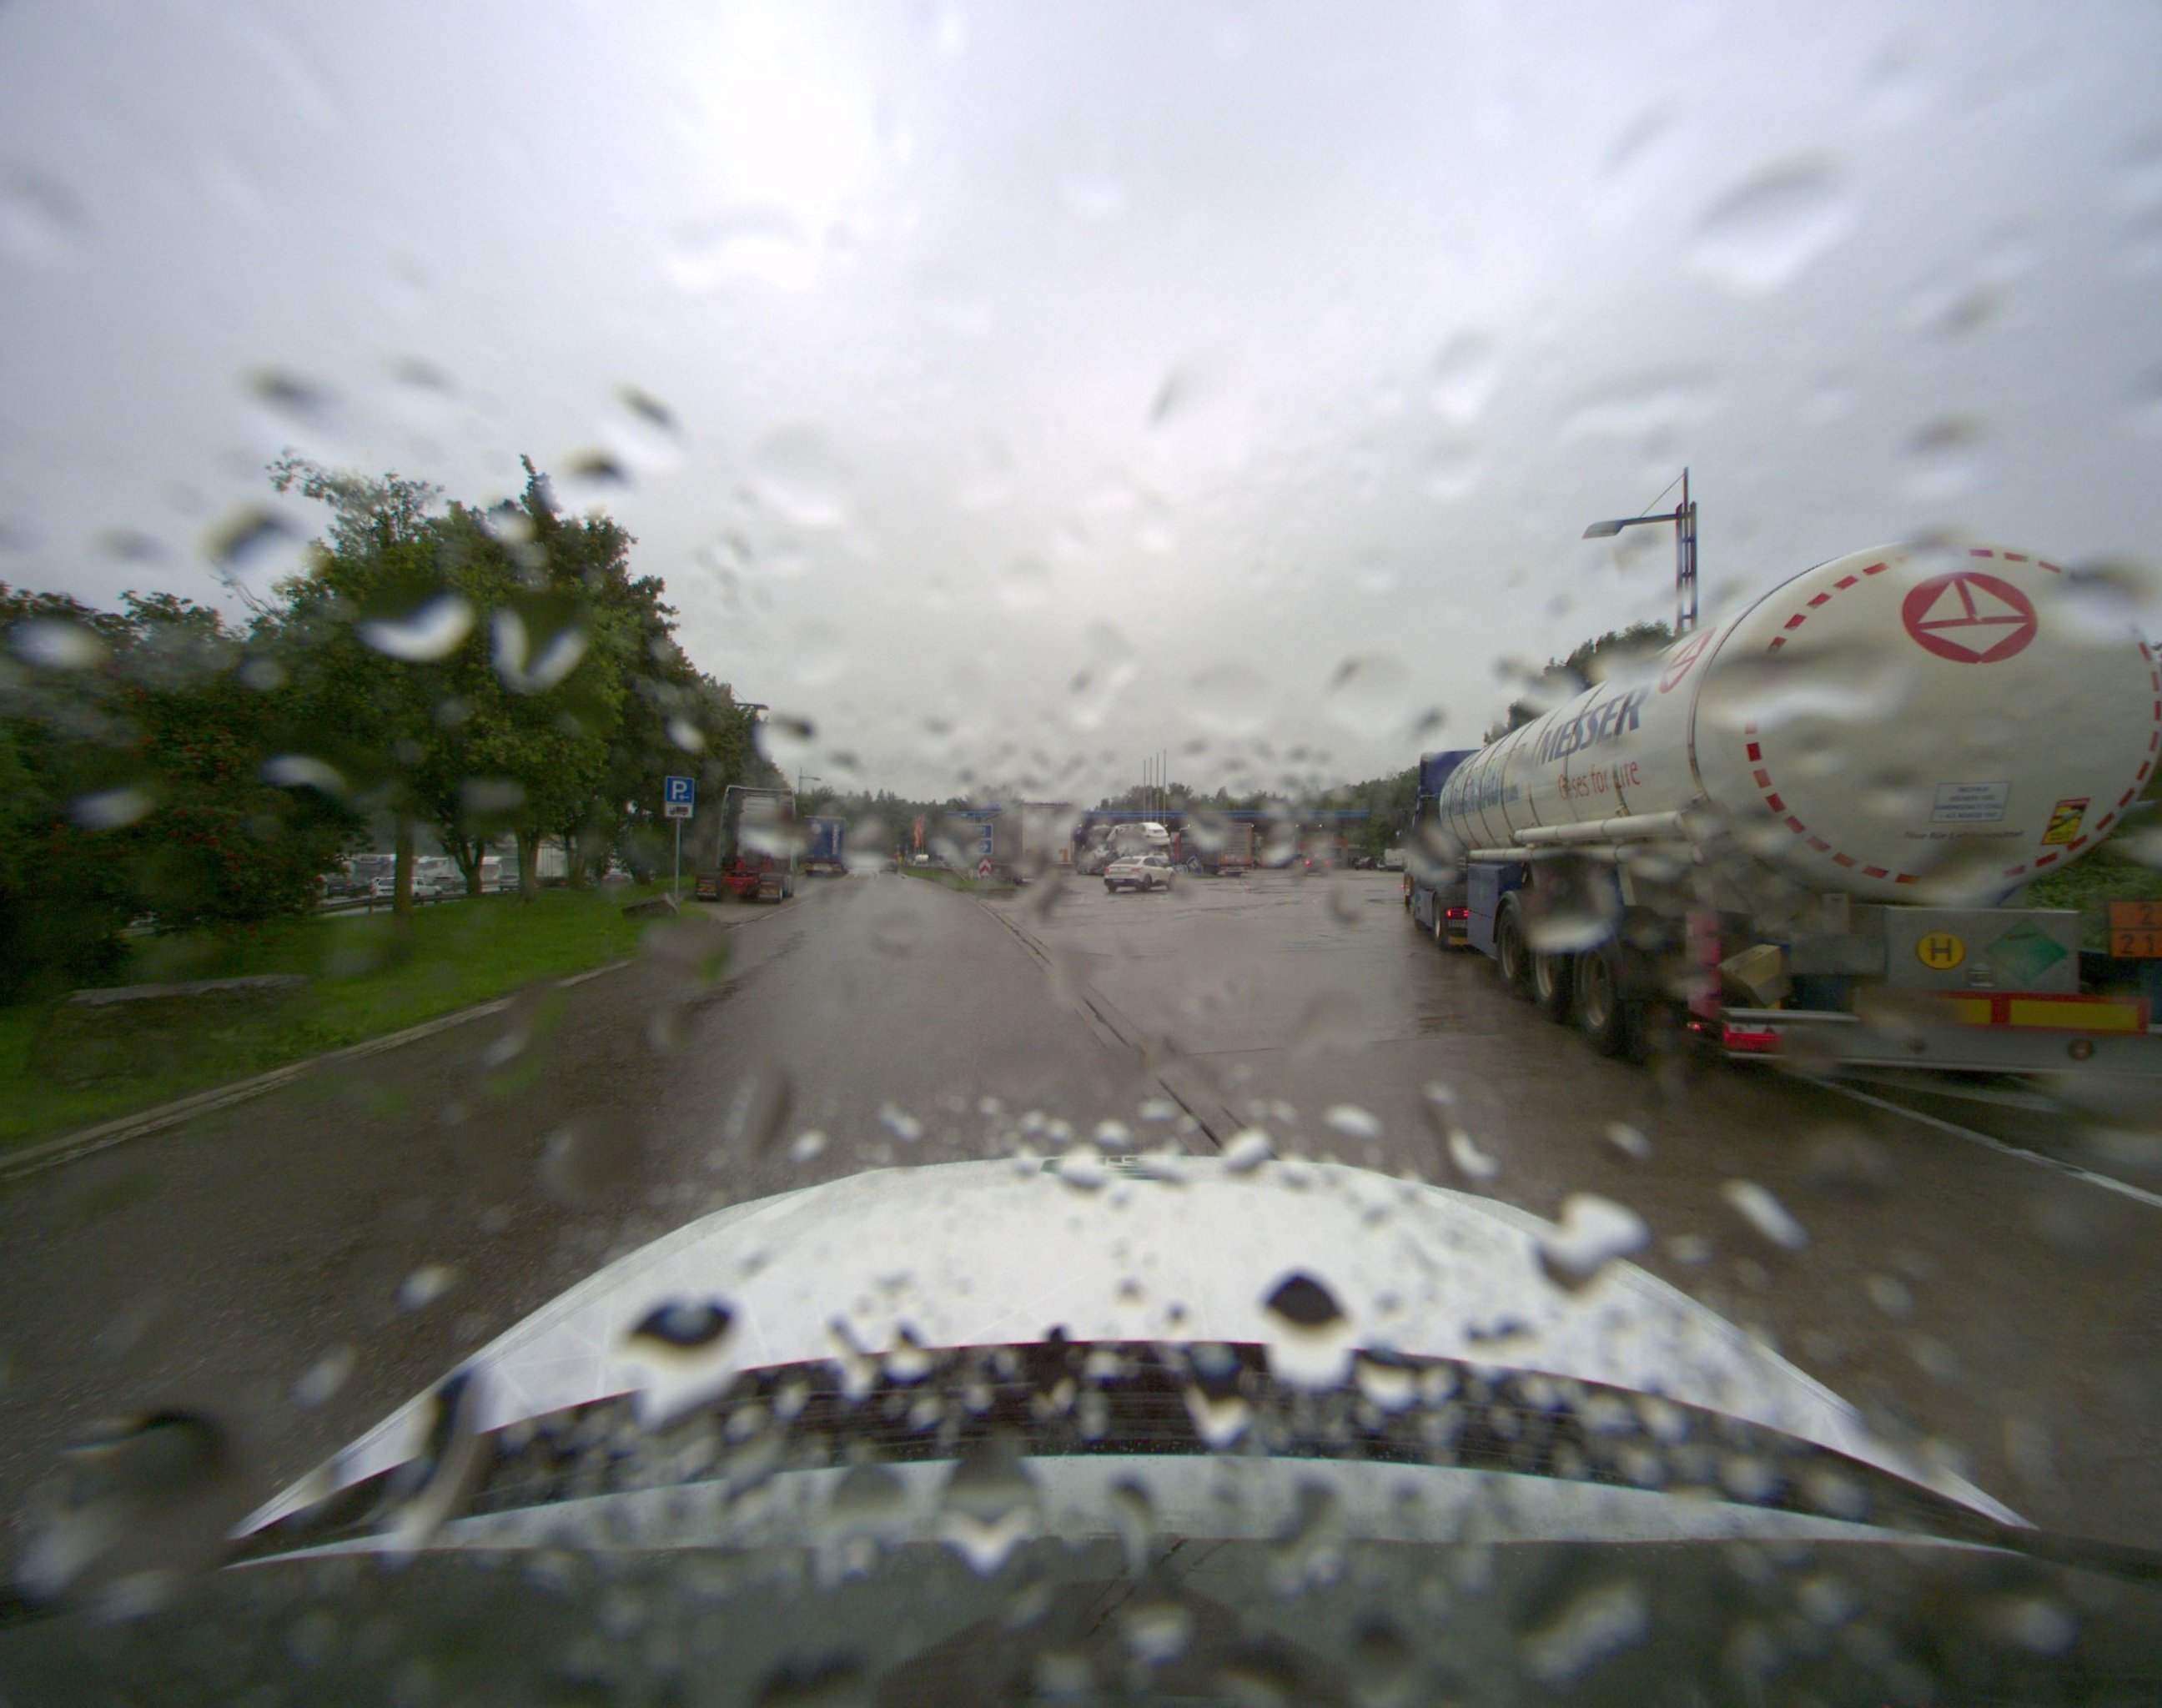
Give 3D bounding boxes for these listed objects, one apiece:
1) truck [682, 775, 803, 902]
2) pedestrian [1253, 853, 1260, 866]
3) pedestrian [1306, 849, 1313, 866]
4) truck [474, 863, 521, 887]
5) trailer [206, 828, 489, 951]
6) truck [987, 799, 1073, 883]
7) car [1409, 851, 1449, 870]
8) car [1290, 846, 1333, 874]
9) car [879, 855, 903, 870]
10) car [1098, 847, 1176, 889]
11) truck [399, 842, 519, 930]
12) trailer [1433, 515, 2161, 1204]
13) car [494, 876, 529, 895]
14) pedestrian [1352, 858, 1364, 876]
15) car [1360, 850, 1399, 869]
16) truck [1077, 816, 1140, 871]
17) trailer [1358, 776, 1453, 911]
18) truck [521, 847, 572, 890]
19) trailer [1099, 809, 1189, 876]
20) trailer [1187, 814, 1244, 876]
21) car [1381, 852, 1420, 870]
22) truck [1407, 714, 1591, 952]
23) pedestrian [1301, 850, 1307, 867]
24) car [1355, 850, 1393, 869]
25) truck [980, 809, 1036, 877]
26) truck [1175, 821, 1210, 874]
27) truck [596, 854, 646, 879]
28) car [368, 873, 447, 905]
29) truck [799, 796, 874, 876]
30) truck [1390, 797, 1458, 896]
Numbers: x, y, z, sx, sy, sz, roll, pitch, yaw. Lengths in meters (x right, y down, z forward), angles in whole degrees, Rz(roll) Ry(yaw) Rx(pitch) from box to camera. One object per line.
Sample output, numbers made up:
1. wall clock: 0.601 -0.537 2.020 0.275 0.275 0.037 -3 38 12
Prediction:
1. truck: -11.594 -0.463 28.487 2.919 3.904 6.286 0 0 -14
2. pedestrian: 22.310 0.691 103.609 0.712 1.521 0.746 2 -3 19
3. pedestrian: 27.352 0.421 97.584 0.664 2.014 0.746 2 -3 19
4. truck: -92.563 3.259 129.334 2.775 3.505 8.648 0 0 -13
5. trailer: -29.093 1.369 33.675 2.902 3.983 14.035 -1 -1 -17
6. truck: -3.061 -0.614 44.037 2.374 3.874 12.394 0 0 -14
7. car: 32.924 0.634 77.071 4.022 1.728 2.094 0 0 -44
8. car: 18.089 0.506 64.032 1.989 2.014 3.993 3 -3 -4
9. car: -18.598 0.838 79.855 1.877 1.461 3.990 1 -1 -7
10. car: 2.483 0.562 34.949 1.975 1.679 4.023 0 0 26
11. truck: -31.371 1.580 41.381 2.879 4.053 5.901 -1 -2 -16
12. trailer: 5.684 0.055 9.009 1.965 3.224 10.364 0 0 16
13. car: -57.620 3.167 82.480 1.819 1.768 3.974 -1 -1 -19
14. pedestrian: 29.865 1.345 87.895 0.944 1.920 1.095 0 0 38
15. car: 30.746 0.548 83.748 4.215 1.937 2.094 0 0 -44
16. truck: 2.112 -0.791 67.069 3.236 4.188 8.409 1 0 -12
17. trailer: 10.566 -0.242 25.886 2.112 3.440 10.312 0 0 26
18. truck: -45.775 1.267 69.865 2.512 3.365 4.717 4 -3 -22
19. trailer: 4.157 -0.751 57.305 3.218 4.189 11.482 1 0 -12
20. trailer: 10.673 -0.620 65.507 1.991 4.559 9.787 1 -1 -6
21. car: 31.023 0.644 79.051 4.022 1.728 2.094 0 0 -44
22. truck: 7.212 -0.303 14.611 2.037 3.531 4.765 0 -1 16
23. pedestrian: 27.074 0.491 98.761 0.583 2.014 0.639 2 -3 10
24. car: 31.319 0.568 87.032 4.215 1.937 2.094 0 0 -44
25. truck: -4.621 -0.614 50.126 2.374 3.874 6.977 0 0 -14
26. truck: 9.924 -0.532 72.748 1.986 4.549 4.784 1 -1 -6
27. truck: -61.162 1.655 108.452 5.252 3.003 1.990 4 -1 -15
28. car: -36.675 1.870 44.463 1.914 1.550 3.977 -1 -1 -17
29. truck: -17.758 -1.191 59.614 4.801 5.305 11.010 0 0 -16
30. truck: 13.307 -0.252 31.434 2.126 3.513 4.673 0 0 26
